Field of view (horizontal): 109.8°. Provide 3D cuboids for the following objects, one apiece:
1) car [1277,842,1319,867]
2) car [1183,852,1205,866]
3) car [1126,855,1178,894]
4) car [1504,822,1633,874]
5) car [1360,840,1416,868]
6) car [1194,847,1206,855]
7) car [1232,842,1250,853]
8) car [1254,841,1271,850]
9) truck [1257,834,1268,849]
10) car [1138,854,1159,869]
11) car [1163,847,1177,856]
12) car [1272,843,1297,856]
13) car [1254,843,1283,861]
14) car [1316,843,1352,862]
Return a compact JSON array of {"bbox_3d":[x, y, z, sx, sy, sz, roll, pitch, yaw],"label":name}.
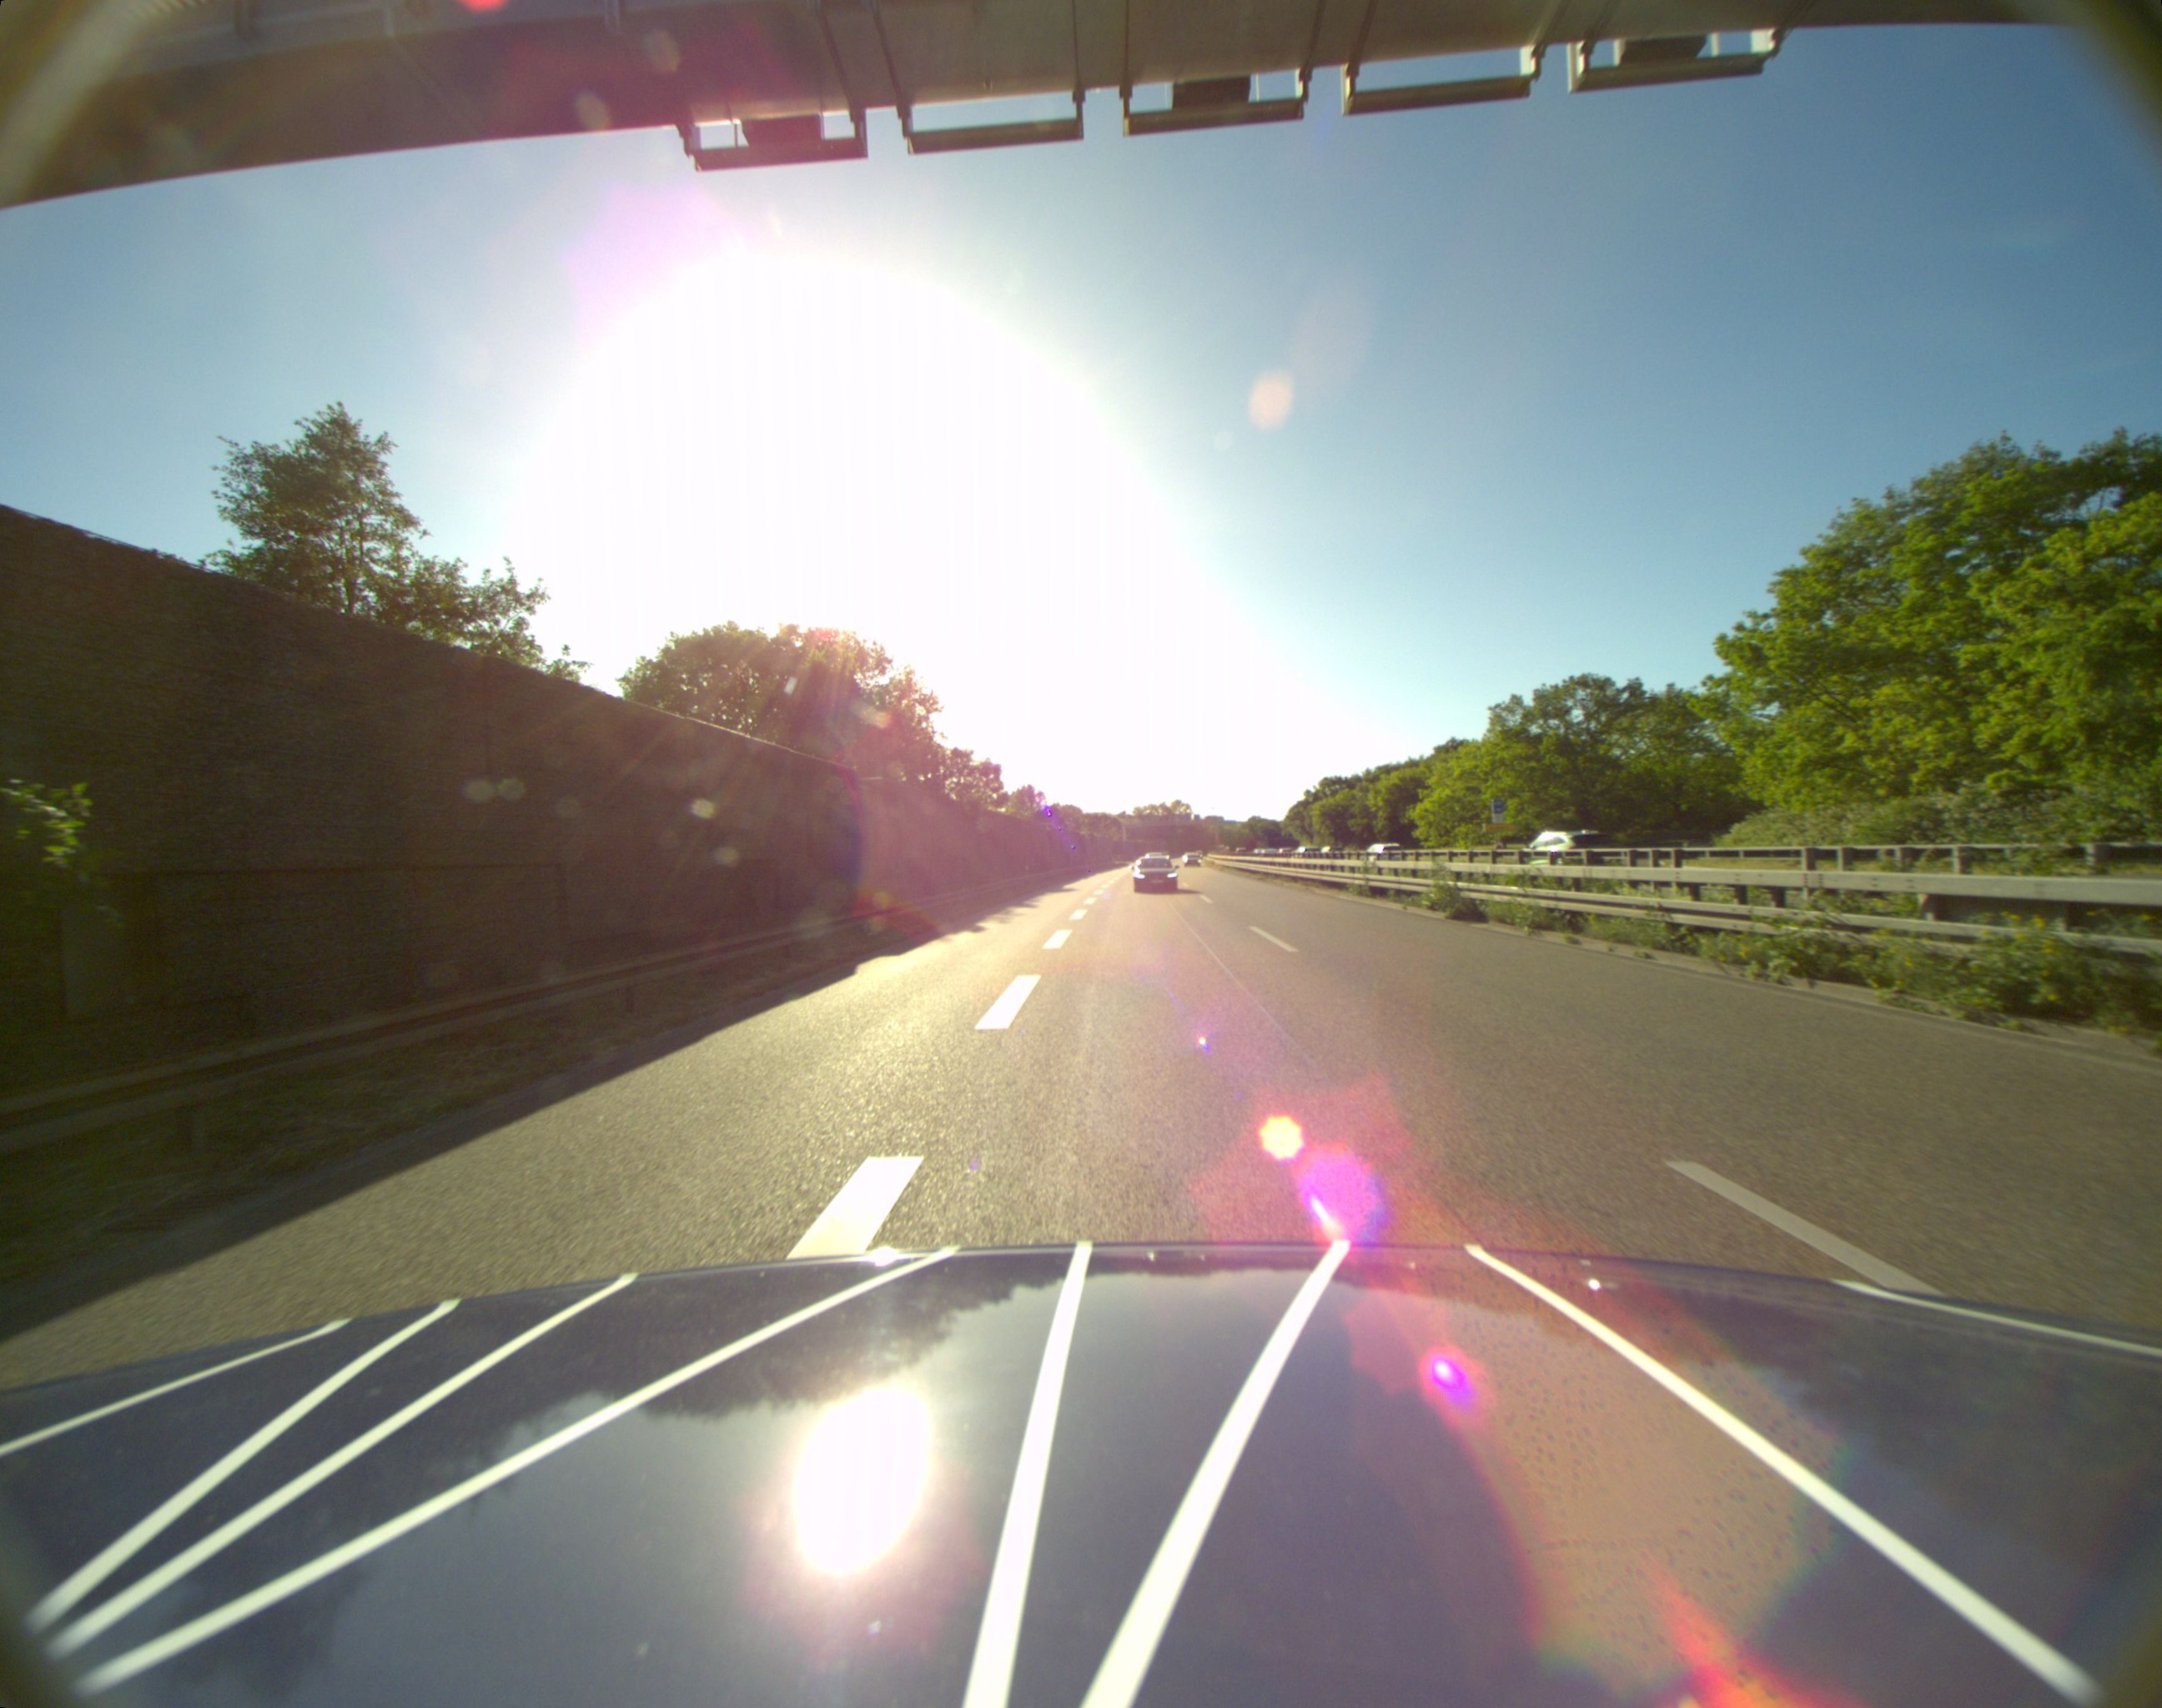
[{"bbox_3d":[15.427,0.019,54.194,1.998,1.631,4.722,-3,0,5],"label":"car"},{"bbox_3d":[12.526,0.544,84.575,1.998,1.406,4.832,-3,0,5],"label":"car"},{"bbox_3d":[3.064,0.808,32.062,1.997,1.406,4.833,-2,0,7],"label":"car"},{"bbox_3d":[17.805,-0.219,28.053,1.998,1.631,4.722,-3,0,5],"label":"car"},{"bbox_3d":[19.661,-0.008,48.873,1.998,1.631,4.722,-3,0,5],"label":"car"},{"bbox_3d":[23.683,-0.663,151.104,1.997,1.406,4.835,-3,0,13],"label":"car"},{"bbox_3d":[24.453,-1.016,116.224,1.998,1.631,4.722,-3,0,5],"label":"car"},{"bbox_3d":[31.197,-1.393,130.750,1.998,1.406,4.832,-3,0,5],"label":"car"},{"bbox_3d":[58.024,-3.941,243.004,3.171,4.394,8.025,-4,0,13],"label":"truck"},{"bbox_3d":[6.986,0.721,77.946,1.998,1.406,4.832,-3,0,5],"label":"car"},{"bbox_3d":[15.152,-0.430,129.106,1.997,1.406,4.834,-3,0,10],"label":"car"},{"bbox_3d":[24.503,-0.512,91.644,1.998,1.469,4.722,-3,0,5],"label":"car"},{"bbox_3d":[18.053,-0.223,73.361,1.998,1.631,4.722,0,0,5],"label":"car"},{"bbox_3d":[23.316,-0.140,70.330,1.998,1.631,5.029,-3,0,5],"label":"car"}]
